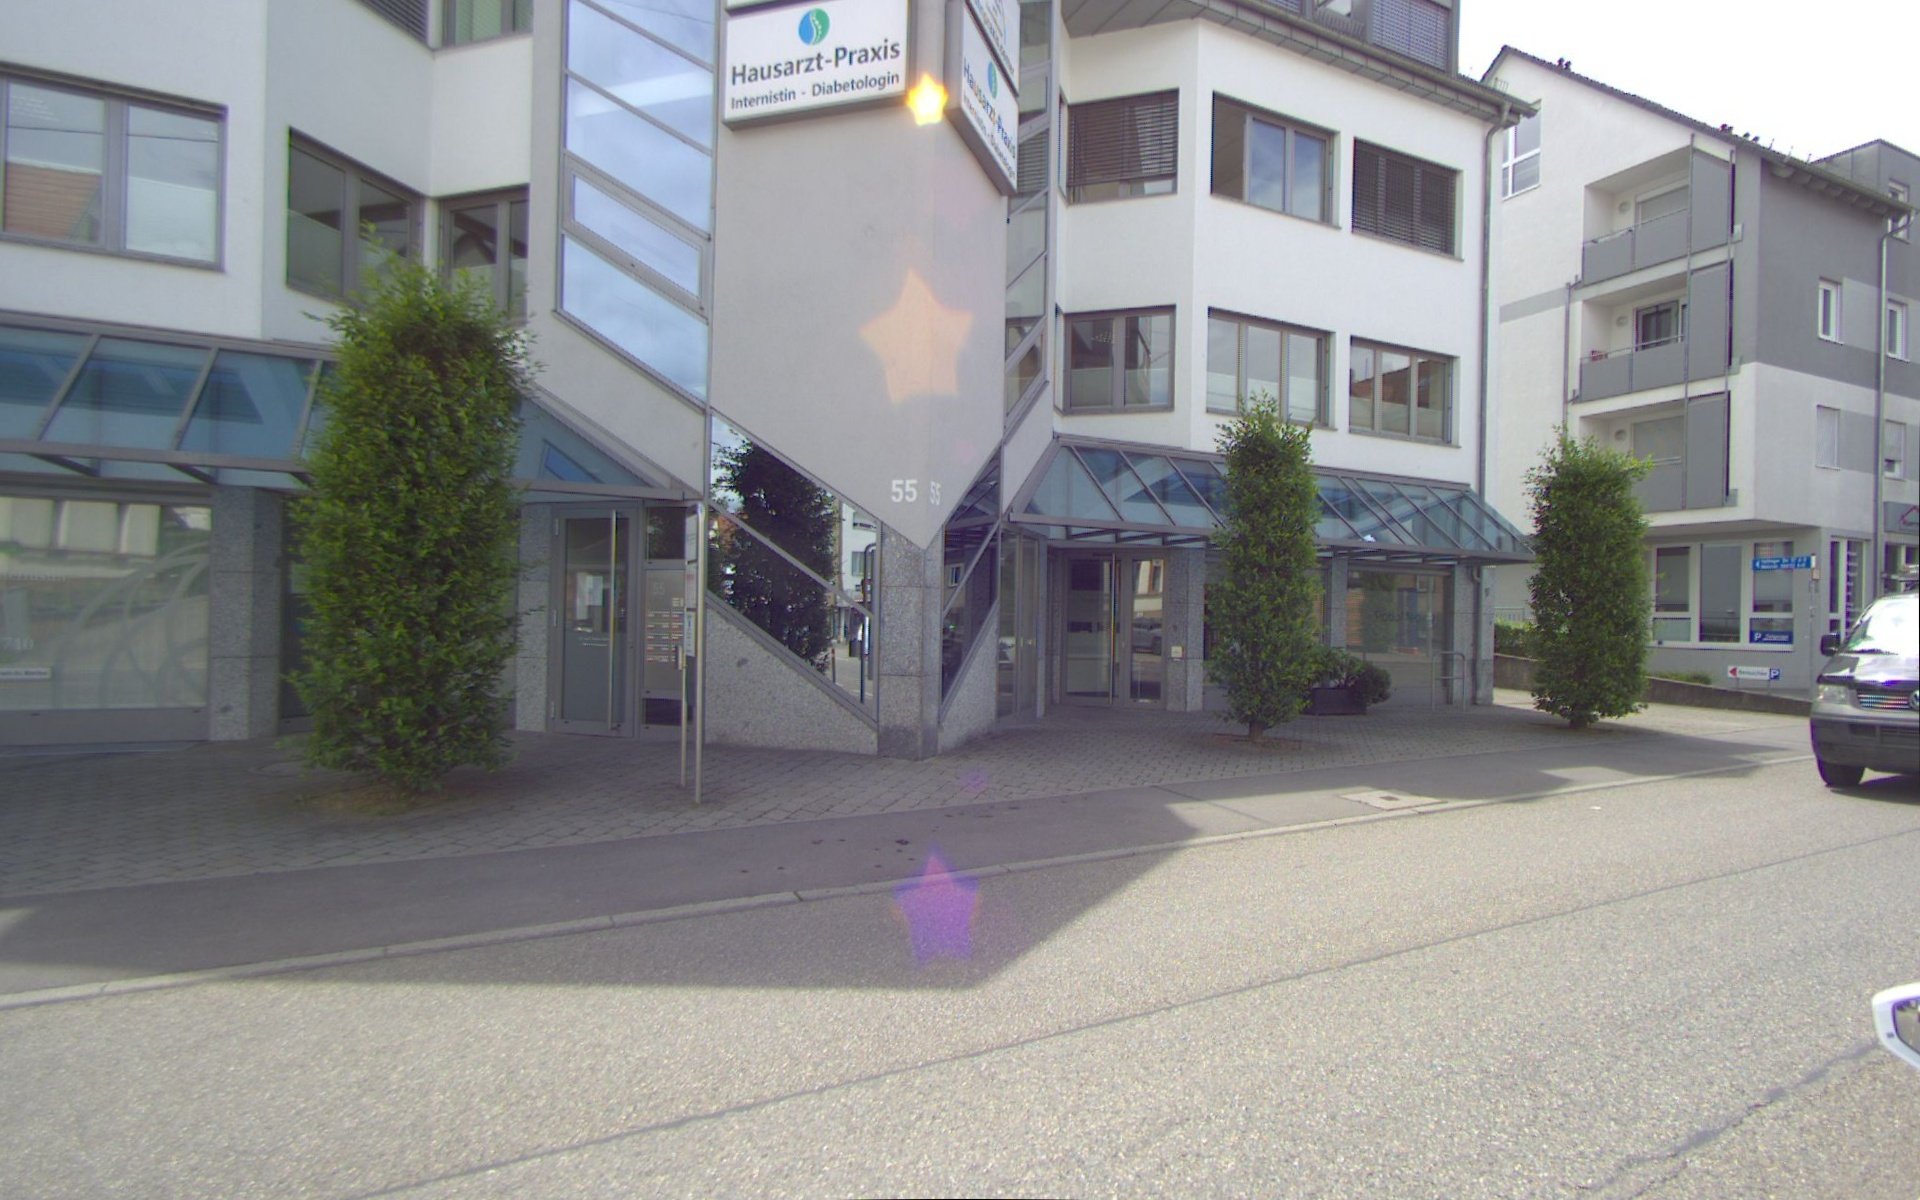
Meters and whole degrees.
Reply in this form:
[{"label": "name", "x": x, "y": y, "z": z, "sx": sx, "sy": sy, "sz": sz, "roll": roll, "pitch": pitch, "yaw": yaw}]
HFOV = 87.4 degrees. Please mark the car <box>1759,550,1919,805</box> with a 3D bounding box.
[{"label": "car", "x": 10.194, "y": 0.704, "z": 9.946, "sx": 4.829, "sy": 2.180, "sz": 2.100, "roll": 1, "pitch": -2, "yaw": -32}]
